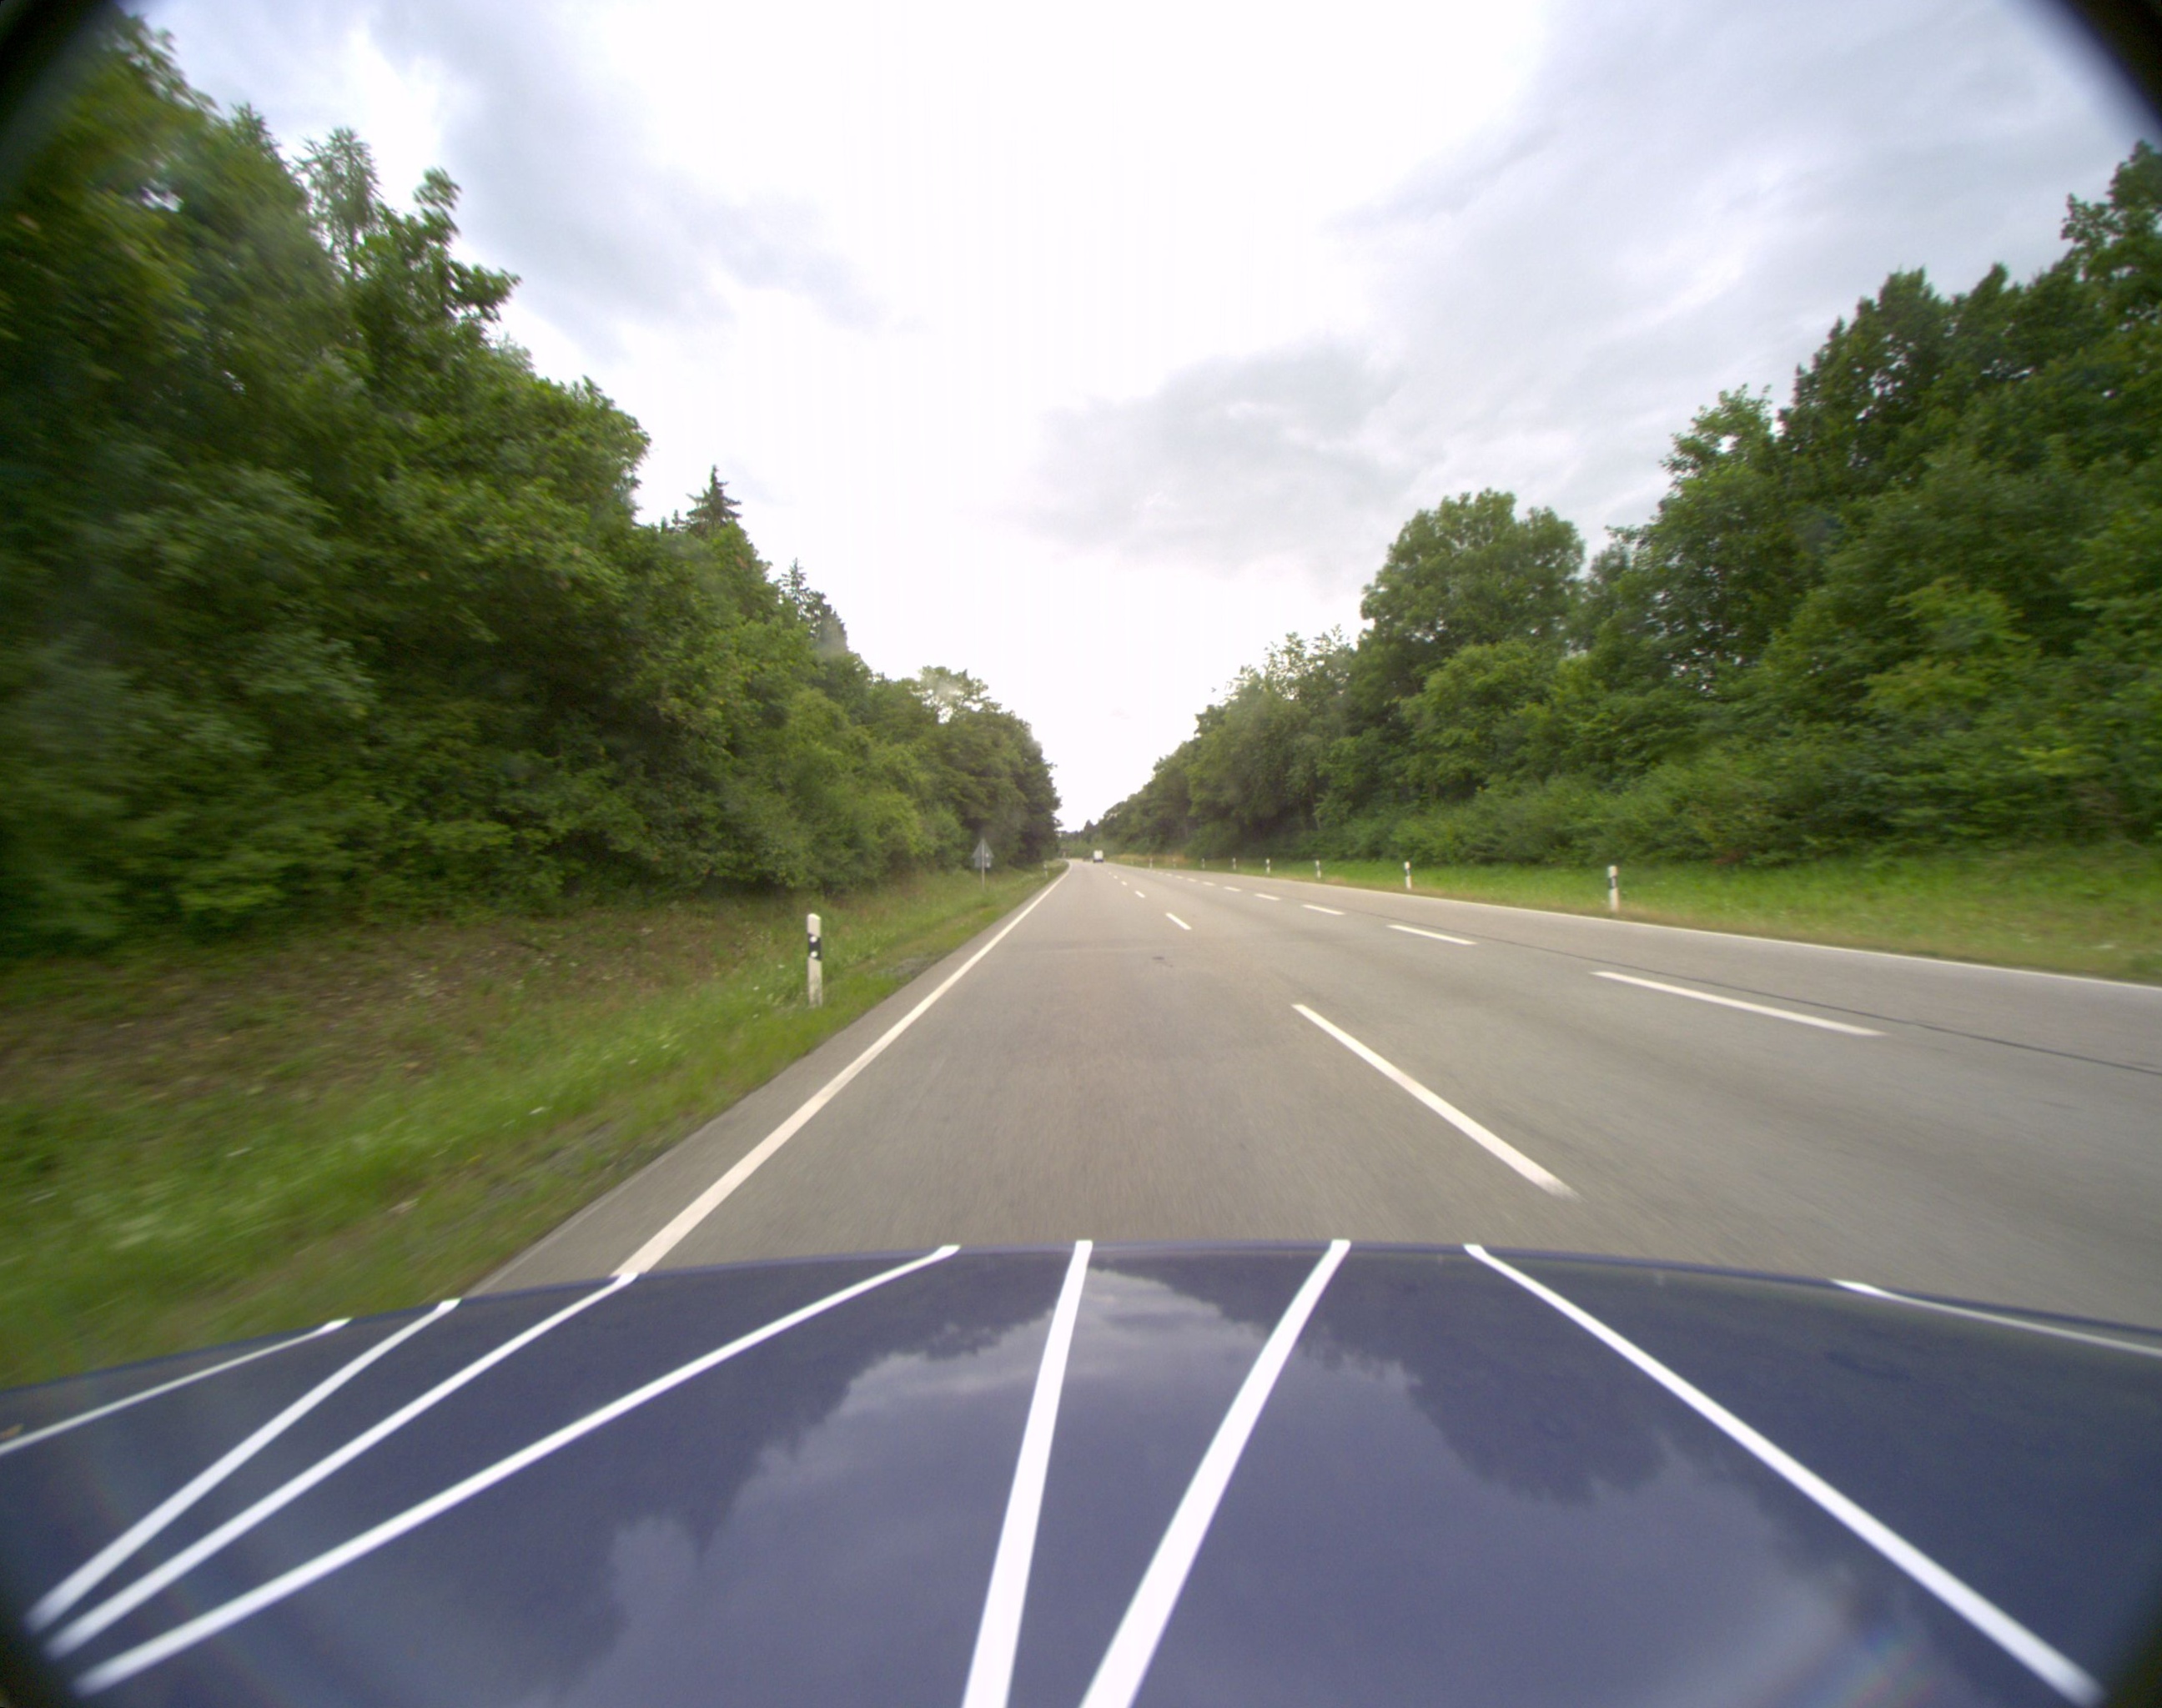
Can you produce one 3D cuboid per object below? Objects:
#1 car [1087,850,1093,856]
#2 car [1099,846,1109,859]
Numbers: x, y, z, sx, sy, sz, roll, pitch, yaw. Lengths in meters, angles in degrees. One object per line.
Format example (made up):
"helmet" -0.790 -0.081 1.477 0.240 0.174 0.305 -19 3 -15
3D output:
"car" 2.534 -0.295 214.501 1.608 1.699 3.476 -2 0 0
"car" 4.959 -0.283 165.636 1.998 2.681 5.977 -2 0 0
